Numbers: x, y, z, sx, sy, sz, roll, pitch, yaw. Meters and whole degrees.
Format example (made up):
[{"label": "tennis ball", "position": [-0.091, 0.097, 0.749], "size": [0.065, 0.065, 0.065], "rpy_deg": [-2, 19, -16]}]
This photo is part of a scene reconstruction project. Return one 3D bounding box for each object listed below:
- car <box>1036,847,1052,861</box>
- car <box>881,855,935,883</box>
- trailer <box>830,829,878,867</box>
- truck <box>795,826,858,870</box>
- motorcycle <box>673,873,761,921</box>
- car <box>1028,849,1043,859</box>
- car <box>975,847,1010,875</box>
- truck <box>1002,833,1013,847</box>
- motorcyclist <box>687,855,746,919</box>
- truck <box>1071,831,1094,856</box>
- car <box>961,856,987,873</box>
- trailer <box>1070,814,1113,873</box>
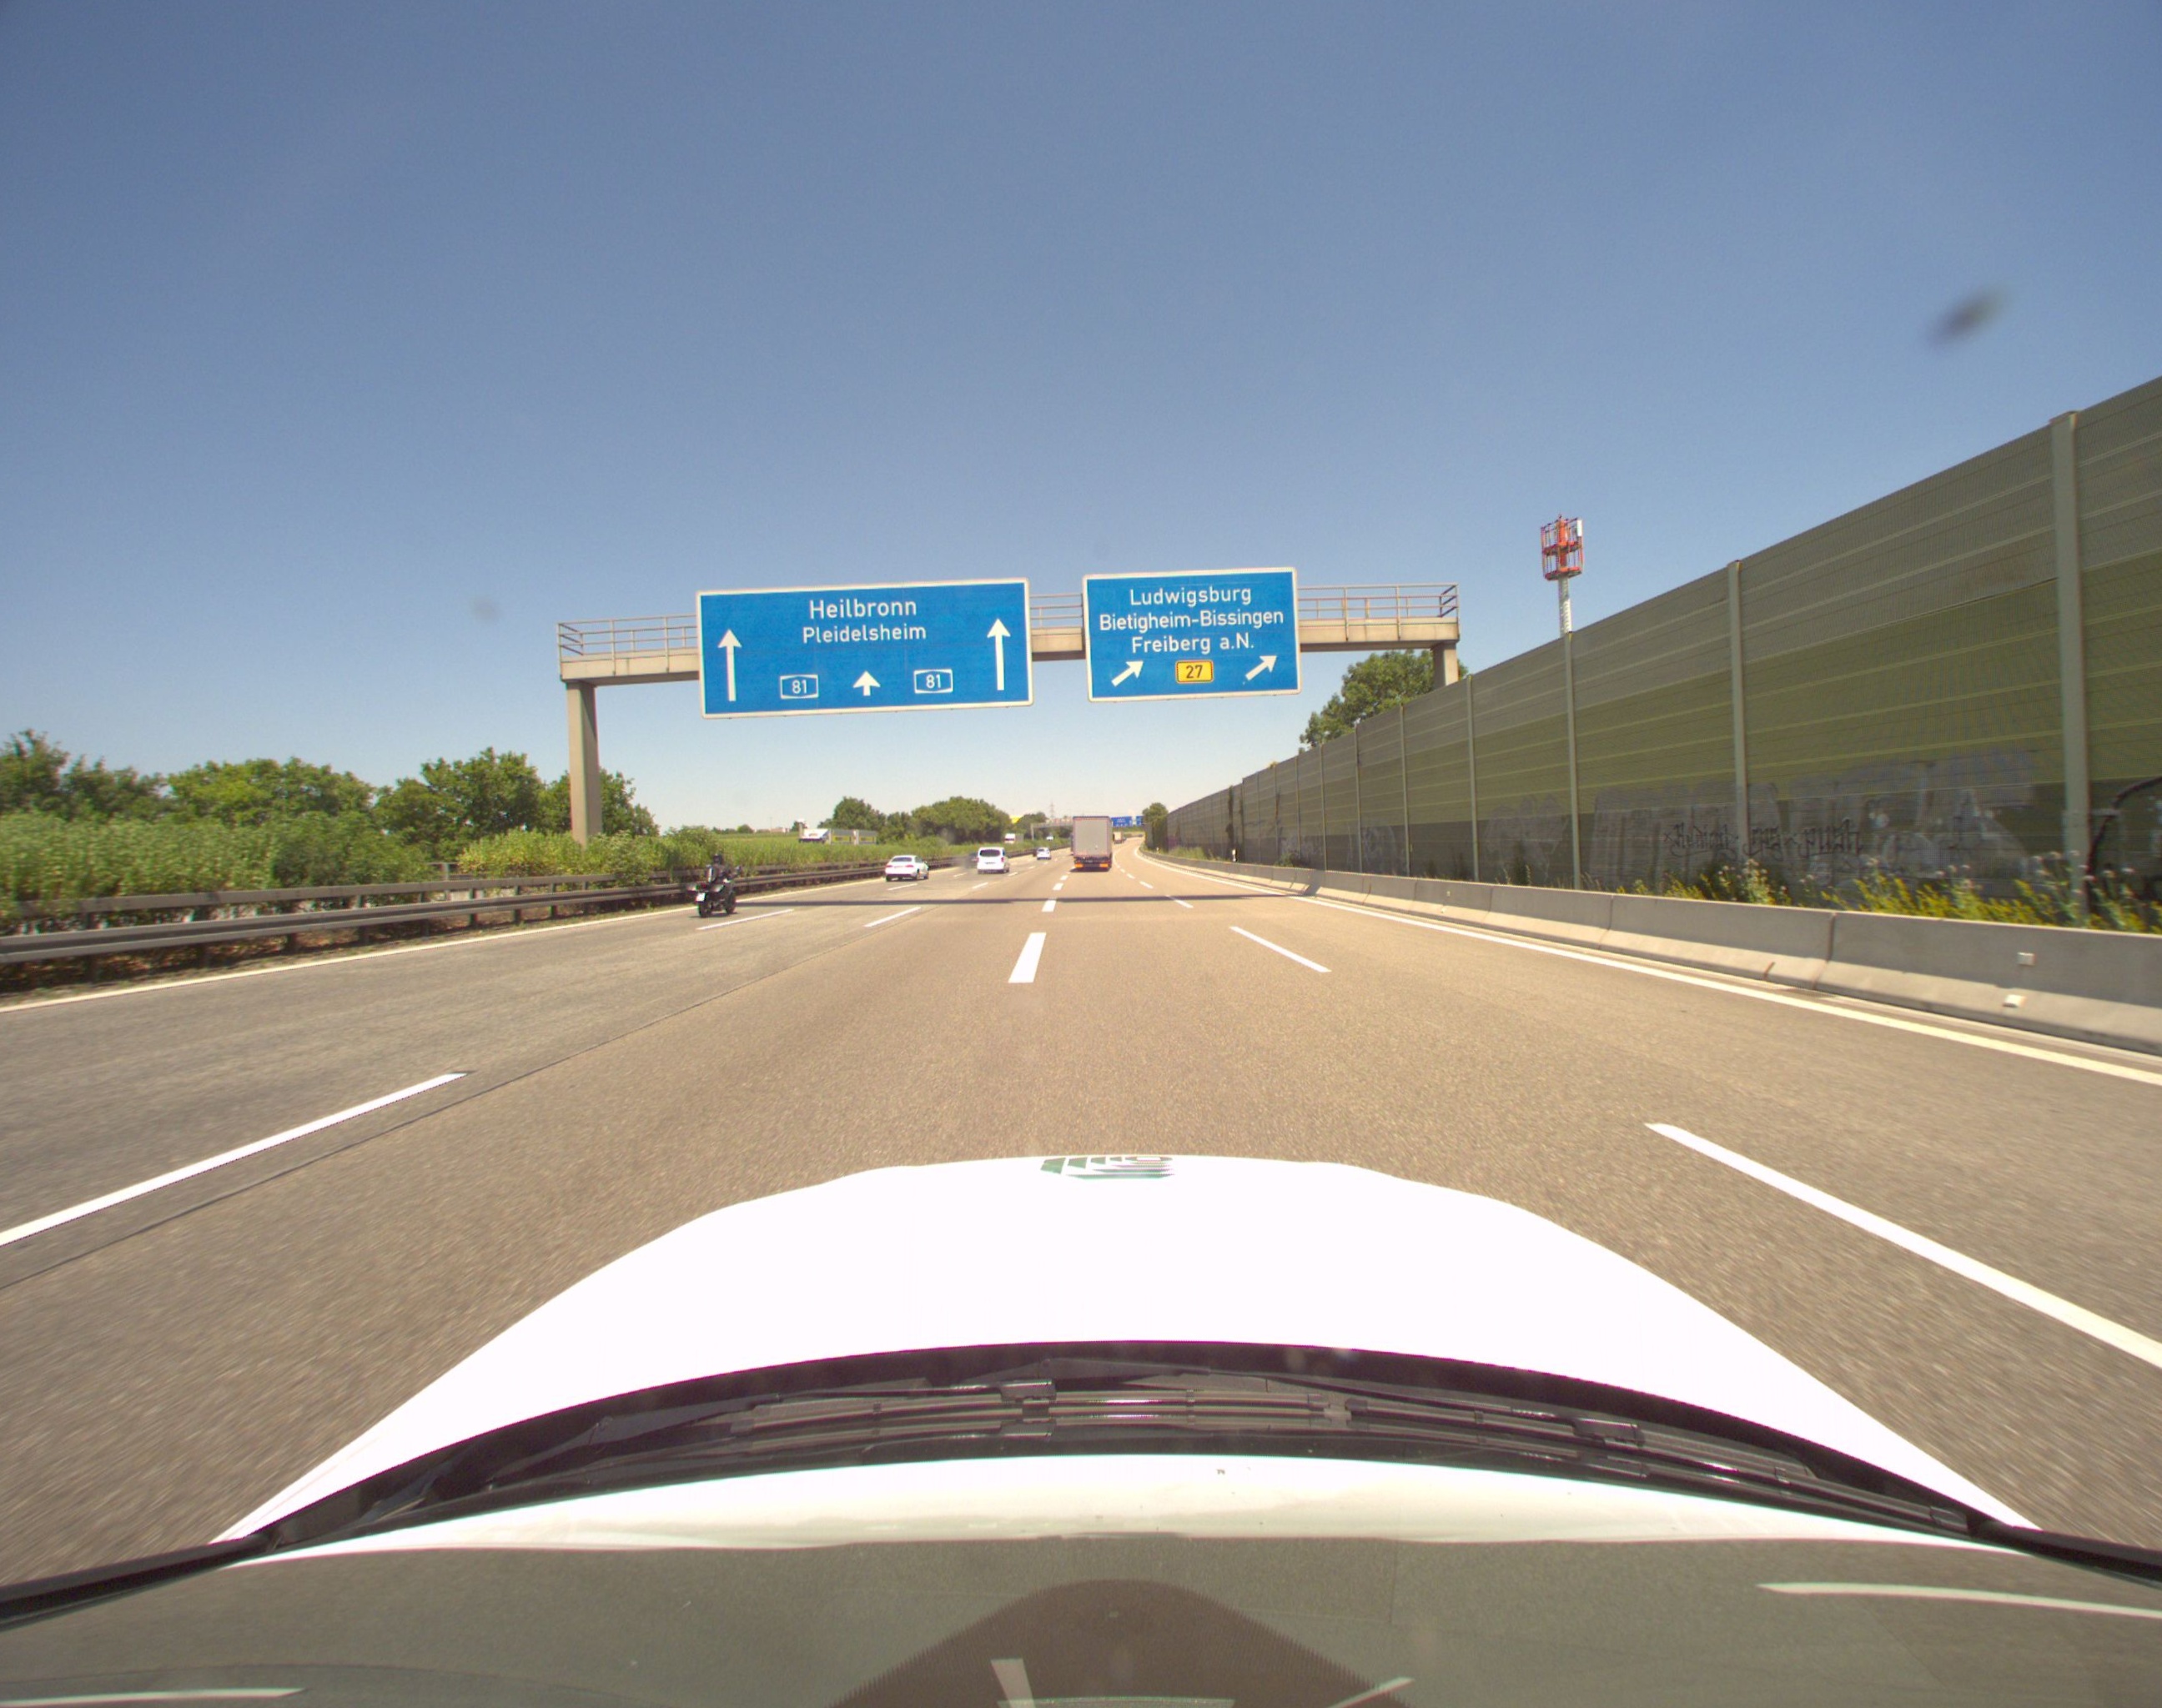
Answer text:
[{"label": "car", "position": [-5.132, -0.036, 112.710], "size": [1.898, 1.851, 4.631], "rpy_deg": [-2, 1, 0]}, {"label": "car", "position": [-9.872, 0.810, 46.796], "size": [1.870, 1.440, 5.126], "rpy_deg": [-1, 0, 1]}, {"label": "trailer", "position": [-24.924, -0.624, 90.006], "size": [2.914, 3.967, 8.656], "rpy_deg": [-1, 0, -1]}, {"label": "truck", "position": [-24.957, -0.563, 80.502], "size": [2.992, 3.967, 10.318], "rpy_deg": [-1, 0, 0]}, {"label": "motorcycle", "position": [-9.461, 1.082, 21.343], "size": [0.909, 1.089, 2.851], "rpy_deg": [-1, 0, 2]}, {"label": "car", "position": [-7.563, -0.015, 136.070], "size": [1.896, 1.689, 4.635], "rpy_deg": [-2, 0, 3]}, {"label": "car", "position": [-6.239, 0.498, 58.107], "size": [1.924, 1.851, 4.691], "rpy_deg": [-2, -1, 0]}, {"label": "truck", "position": [-20.688, -3.870, 229.391], "size": [2.527, 3.947, 5.171], "rpy_deg": [-1, 1, 3]}, {"label": "motorcyclist", "position": [-9.471, 0.837, 21.233], "size": [0.890, 1.597, 1.300], "rpy_deg": [-1, 0, 2]}, {"label": "truck", "position": [0.336, -1.992, 145.087], "size": [3.733, 4.269, 14.502], "rpy_deg": [-1, 1, 2]}, {"label": "car", "position": [-9.804, 0.948, 74.794], "size": [1.751, 1.408, 5.038], "rpy_deg": [-2, -1, 0]}, {"label": "trailer", "position": [0.754, -0.708, 63.218], "size": [2.918, 4.015, 12.037], "rpy_deg": [-2, 0, 0]}]
